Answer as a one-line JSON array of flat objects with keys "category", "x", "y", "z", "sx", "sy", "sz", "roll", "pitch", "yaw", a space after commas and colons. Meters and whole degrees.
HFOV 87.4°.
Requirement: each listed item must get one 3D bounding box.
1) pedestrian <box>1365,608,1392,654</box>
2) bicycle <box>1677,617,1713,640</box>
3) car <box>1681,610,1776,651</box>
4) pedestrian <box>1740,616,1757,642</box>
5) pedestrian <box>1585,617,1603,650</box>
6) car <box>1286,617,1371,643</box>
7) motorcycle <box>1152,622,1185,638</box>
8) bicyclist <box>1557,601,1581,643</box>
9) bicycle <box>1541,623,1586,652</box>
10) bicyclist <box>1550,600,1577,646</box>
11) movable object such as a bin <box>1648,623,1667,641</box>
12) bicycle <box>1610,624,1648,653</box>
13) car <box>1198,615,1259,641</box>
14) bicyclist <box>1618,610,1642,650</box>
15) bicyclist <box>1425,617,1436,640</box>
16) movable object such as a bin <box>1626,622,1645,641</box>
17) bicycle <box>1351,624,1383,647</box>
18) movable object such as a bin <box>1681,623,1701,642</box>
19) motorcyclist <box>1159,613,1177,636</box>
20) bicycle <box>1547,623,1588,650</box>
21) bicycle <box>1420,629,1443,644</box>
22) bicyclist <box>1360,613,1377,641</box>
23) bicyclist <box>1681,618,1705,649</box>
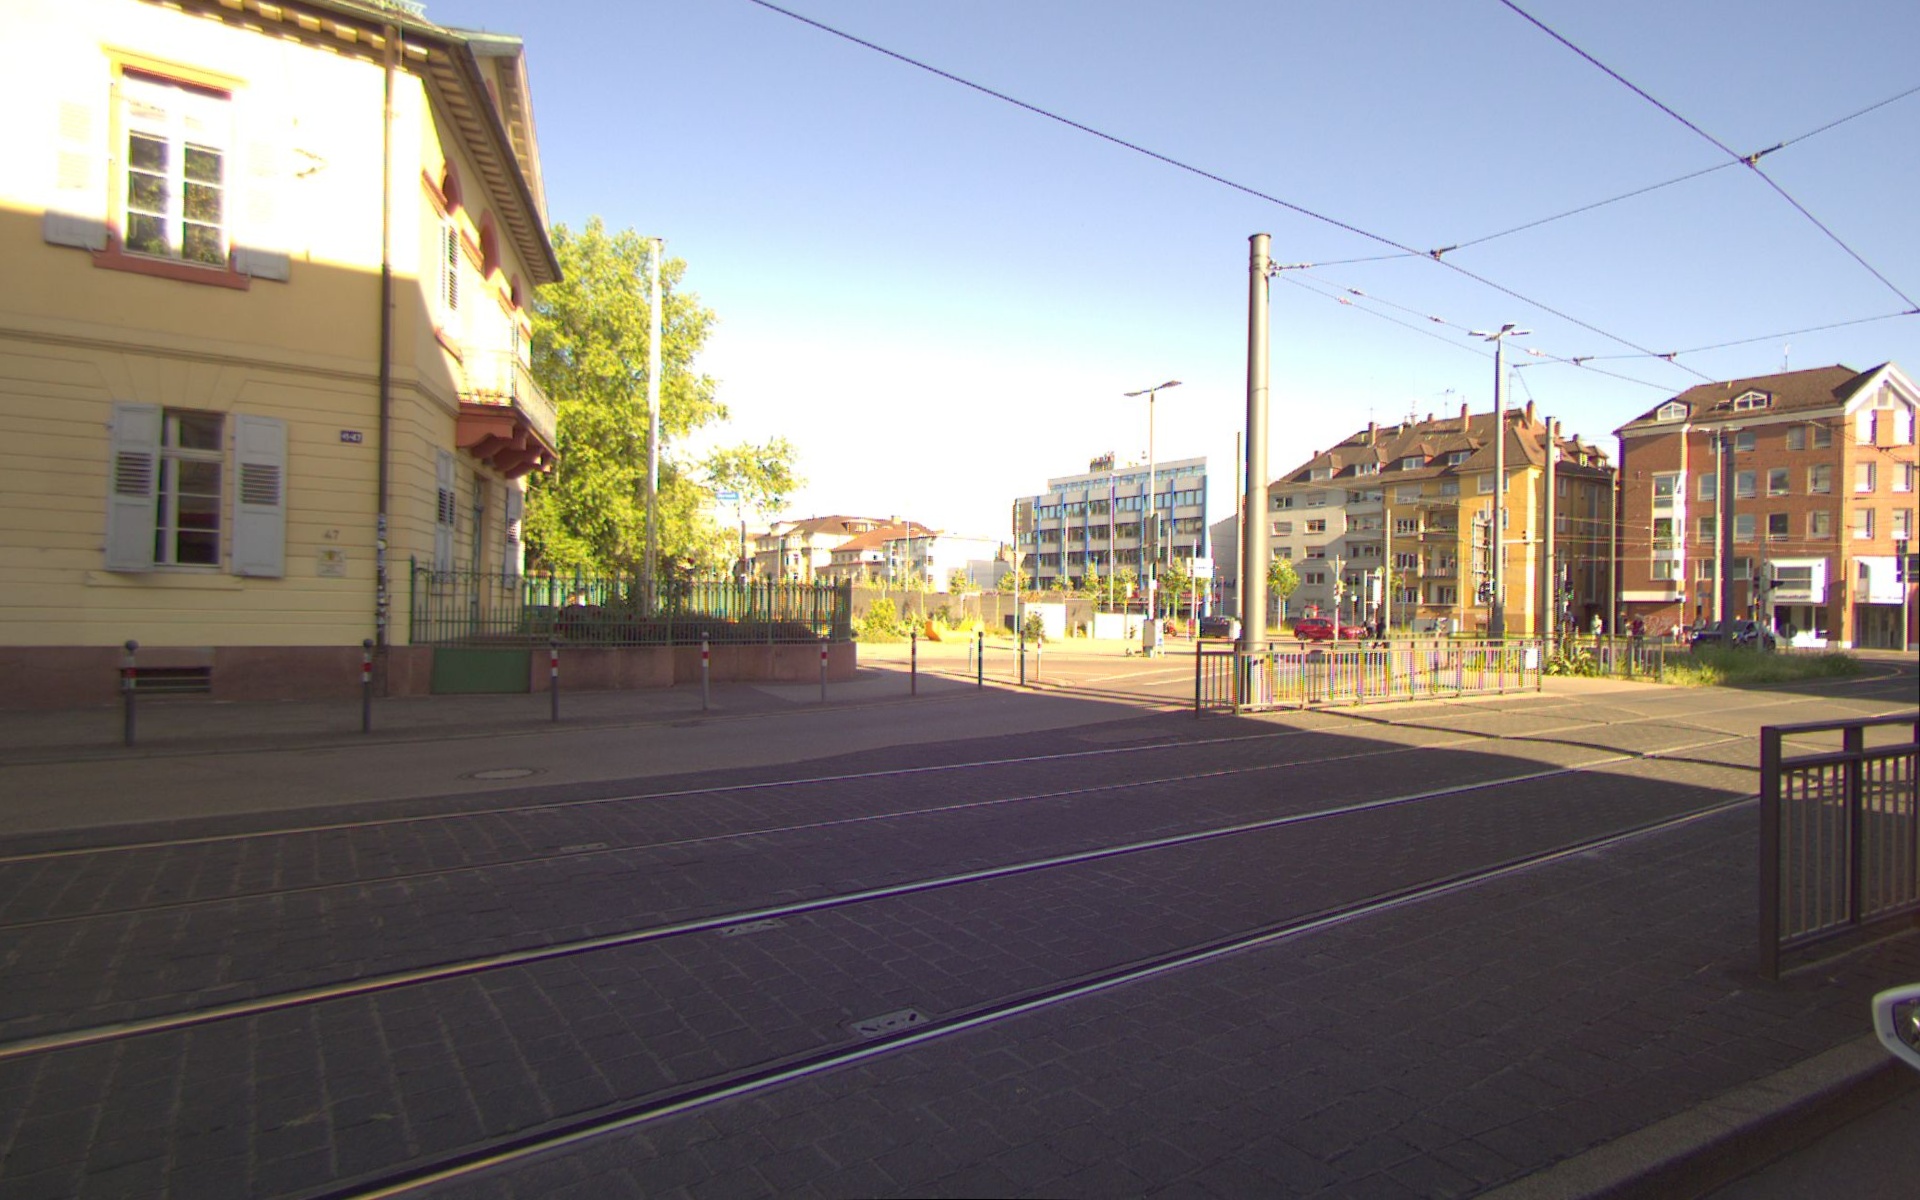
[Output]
[{"category": "pedestrian", "x": 18.088, "y": 1.325, "z": 43.451, "sx": 0.784, "sy": 1.959, "sz": 0.724, "roll": 2, "pitch": 0, "yaw": -9}, {"category": "bicycle", "x": 35.095, "y": 1.350, "z": 47.979, "sx": 1.862, "sy": 1.027, "sz": 0.647, "roll": 2, "pitch": 0, "yaw": -29}, {"category": "car", "x": 31.678, "y": 1.248, "z": 41.367, "sx": 4.074, "sy": 1.581, "sz": 1.676, "roll": 2, "pitch": 0, "yaw": -30}, {"category": "pedestrian", "x": 53.478, "y": 1.981, "z": 68.115, "sx": 0.921, "sy": 1.733, "sz": 0.690, "roll": 2, "pitch": 0, "yaw": -36}, {"category": "pedestrian", "x": 33.768, "y": 1.789, "z": 53.473, "sx": 0.700, "sy": 1.711, "sz": 0.619, "roll": -1, "pitch": 2, "yaw": -42}, {"category": "car", "x": 21.922, "y": 1.771, "z": 59.844, "sx": 1.768, "sy": 1.529, "sz": 4.513, "roll": 1, "pitch": -2, "yaw": -39}, {"category": "motorcycle", "x": 14.453, "y": 2.077, "z": 69.711, "sx": 0.784, "sy": 0.997, "sz": 2.342, "roll": 2, "pitch": 0, "yaw": -36}, {"category": "bicyclist", "x": 24.870, "y": 0.902, "z": 41.014, "sx": 0.761, "sy": 1.695, "sz": 0.518, "roll": 2, "pitch": 0, "yaw": -29}, {"category": "bicycle", "x": 22.553, "y": 1.410, "z": 37.523, "sx": 1.873, "sy": 1.027, "sz": 0.527, "roll": 2, "pitch": 0, "yaw": -29}, {"category": "bicyclist", "x": 22.529, "y": 0.865, "z": 37.501, "sx": 0.761, "sy": 1.695, "sz": 0.522, "roll": 2, "pitch": 0, "yaw": -28}, {"category": "movable object such as a bin", "x": 55.462, "y": 2.545, "z": 79.870, "sx": 1.087, "sy": 1.456, "sz": 0.988, "roll": 2, "pitch": 0, "yaw": -39}, {"category": "bicycle", "x": 28.570, "y": 1.648, "z": 42.872, "sx": 1.862, "sy": 1.230, "sz": 0.527, "roll": 2, "pitch": 0, "yaw": -29}, {"category": "car", "x": 17.424, "y": 1.809, "z": 65.273, "sx": 1.560, "sy": 1.491, "sz": 3.674, "roll": 2, "pitch": 0, "yaw": -36}, {"category": "bicyclist", "x": 28.625, "y": 1.268, "z": 42.896, "sx": 0.761, "sy": 1.695, "sz": 0.518, "roll": 2, "pitch": 0, "yaw": -29}, {"category": "bicyclist", "x": 27.284, "y": 1.649, "z": 58.199, "sx": 0.453, "sy": 1.333, "sz": 0.397, "roll": 2, "pitch": 0, "yaw": 44}, {"category": "movable object such as a bin", "x": 54.468, "y": 2.519, "z": 81.013, "sx": 1.087, "sy": 1.456, "sz": 0.988, "roll": 2, "pitch": 0, "yaw": -39}, {"category": "bicycle", "x": 22.147, "y": 1.929, "z": 54.682, "sx": 0.608, "sy": 1.148, "sz": 1.481, "roll": 2, "pitch": 0, "yaw": -43}, {"category": "movable object such as a bin", "x": 56.705, "y": 2.544, "z": 77.957, "sx": 1.087, "sy": 1.456, "sz": 0.988, "roll": 2, "pitch": 0, "yaw": -39}, {"category": "motorcyclist", "x": 14.447, "y": 1.721, "z": 69.721, "sx": 0.775, "sy": 1.544, "sz": 0.914, "roll": 2, "pitch": 0, "yaw": -36}, {"category": "bicycle", "x": 24.773, "y": 1.488, "z": 40.967, "sx": 1.862, "sy": 1.027, "sz": 0.527, "roll": 2, "pitch": 0, "yaw": -29}, {"category": "bicycle", "x": 27.286, "y": 2.117, "z": 58.170, "sx": 1.160, "sy": 0.774, "sz": 0.318, "roll": 2, "pitch": 0, "yaw": 45}, {"category": "bicyclist", "x": 22.229, "y": 1.466, "z": 54.622, "sx": 0.605, "sy": 1.513, "sz": 0.608, "roll": 2, "pitch": 0, "yaw": -44}, {"category": "bicyclist", "x": 34.970, "y": 1.602, "z": 47.929, "sx": 0.722, "sy": 1.473, "sz": 0.660, "roll": 2, "pitch": 0, "yaw": -29}]
